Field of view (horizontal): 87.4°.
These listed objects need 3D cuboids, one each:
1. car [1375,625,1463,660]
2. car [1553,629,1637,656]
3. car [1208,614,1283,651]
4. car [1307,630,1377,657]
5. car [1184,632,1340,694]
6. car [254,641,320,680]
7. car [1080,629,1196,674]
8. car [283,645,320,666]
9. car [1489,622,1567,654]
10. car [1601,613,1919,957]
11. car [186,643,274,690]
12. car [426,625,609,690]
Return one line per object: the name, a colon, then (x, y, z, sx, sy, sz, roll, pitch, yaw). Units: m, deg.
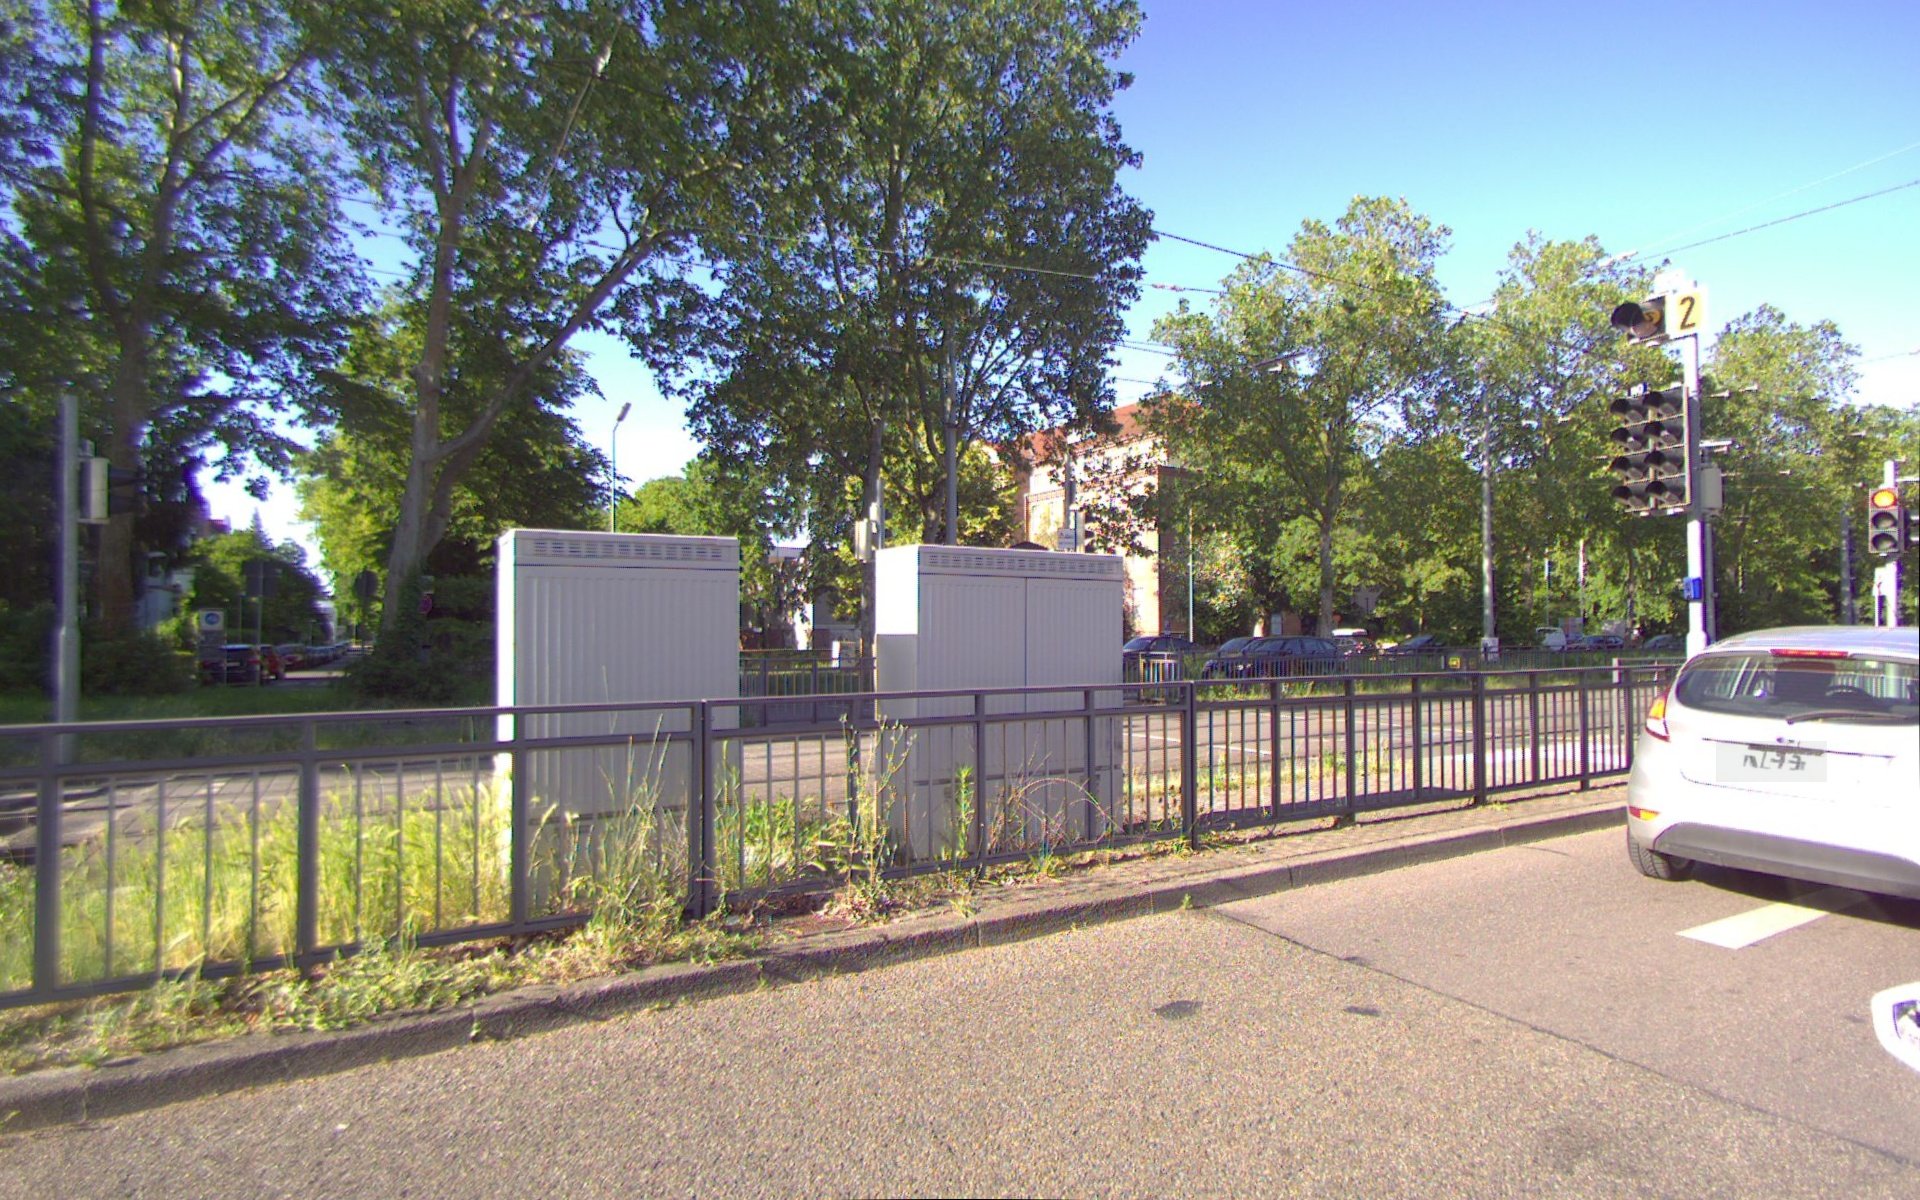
car: (20.812, 1.901, 45.480, 4.098, 1.529, 1.660, 1, -1, -32)
car: (33.674, 2.271, 53.237, 4.795, 1.366, 1.926, 2, -2, -32)
car: (16.339, 1.825, 57.460, 3.953, 2.040, 1.984, 1, -1, -30)
car: (22.051, 2.488, 58.148, 1.375, 1.514, 3.974, 0, -2, -26)
car: (8.163, 1.633, 27.028, 4.297, 1.518, 1.674, 1, -1, -33)
car: (-28.301, 2.509, 42.357, 1.976, 1.437, 3.970, 1, -1, -29)
car: (6.475, 1.832, 36.358, 4.098, 1.529, 1.661, 1, -1, -32)
car: (-37.937, 3.179, 57.904, 1.513, 1.134, 3.102, 1, -2, -29)
car: (28.456, 1.889, 50.282, 4.098, 1.529, 1.660, 1, -1, -32)
car: (5.464, 0.831, 5.825, 3.850, 1.487, 1.599, 1, -1, -35)
car: (-25.152, 2.233, 34.730, 1.976, 1.437, 3.970, 1, -1, -29)
car: (-11.276, 1.413, 25.666, 4.098, 1.529, 1.660, 1, -2, -32)
